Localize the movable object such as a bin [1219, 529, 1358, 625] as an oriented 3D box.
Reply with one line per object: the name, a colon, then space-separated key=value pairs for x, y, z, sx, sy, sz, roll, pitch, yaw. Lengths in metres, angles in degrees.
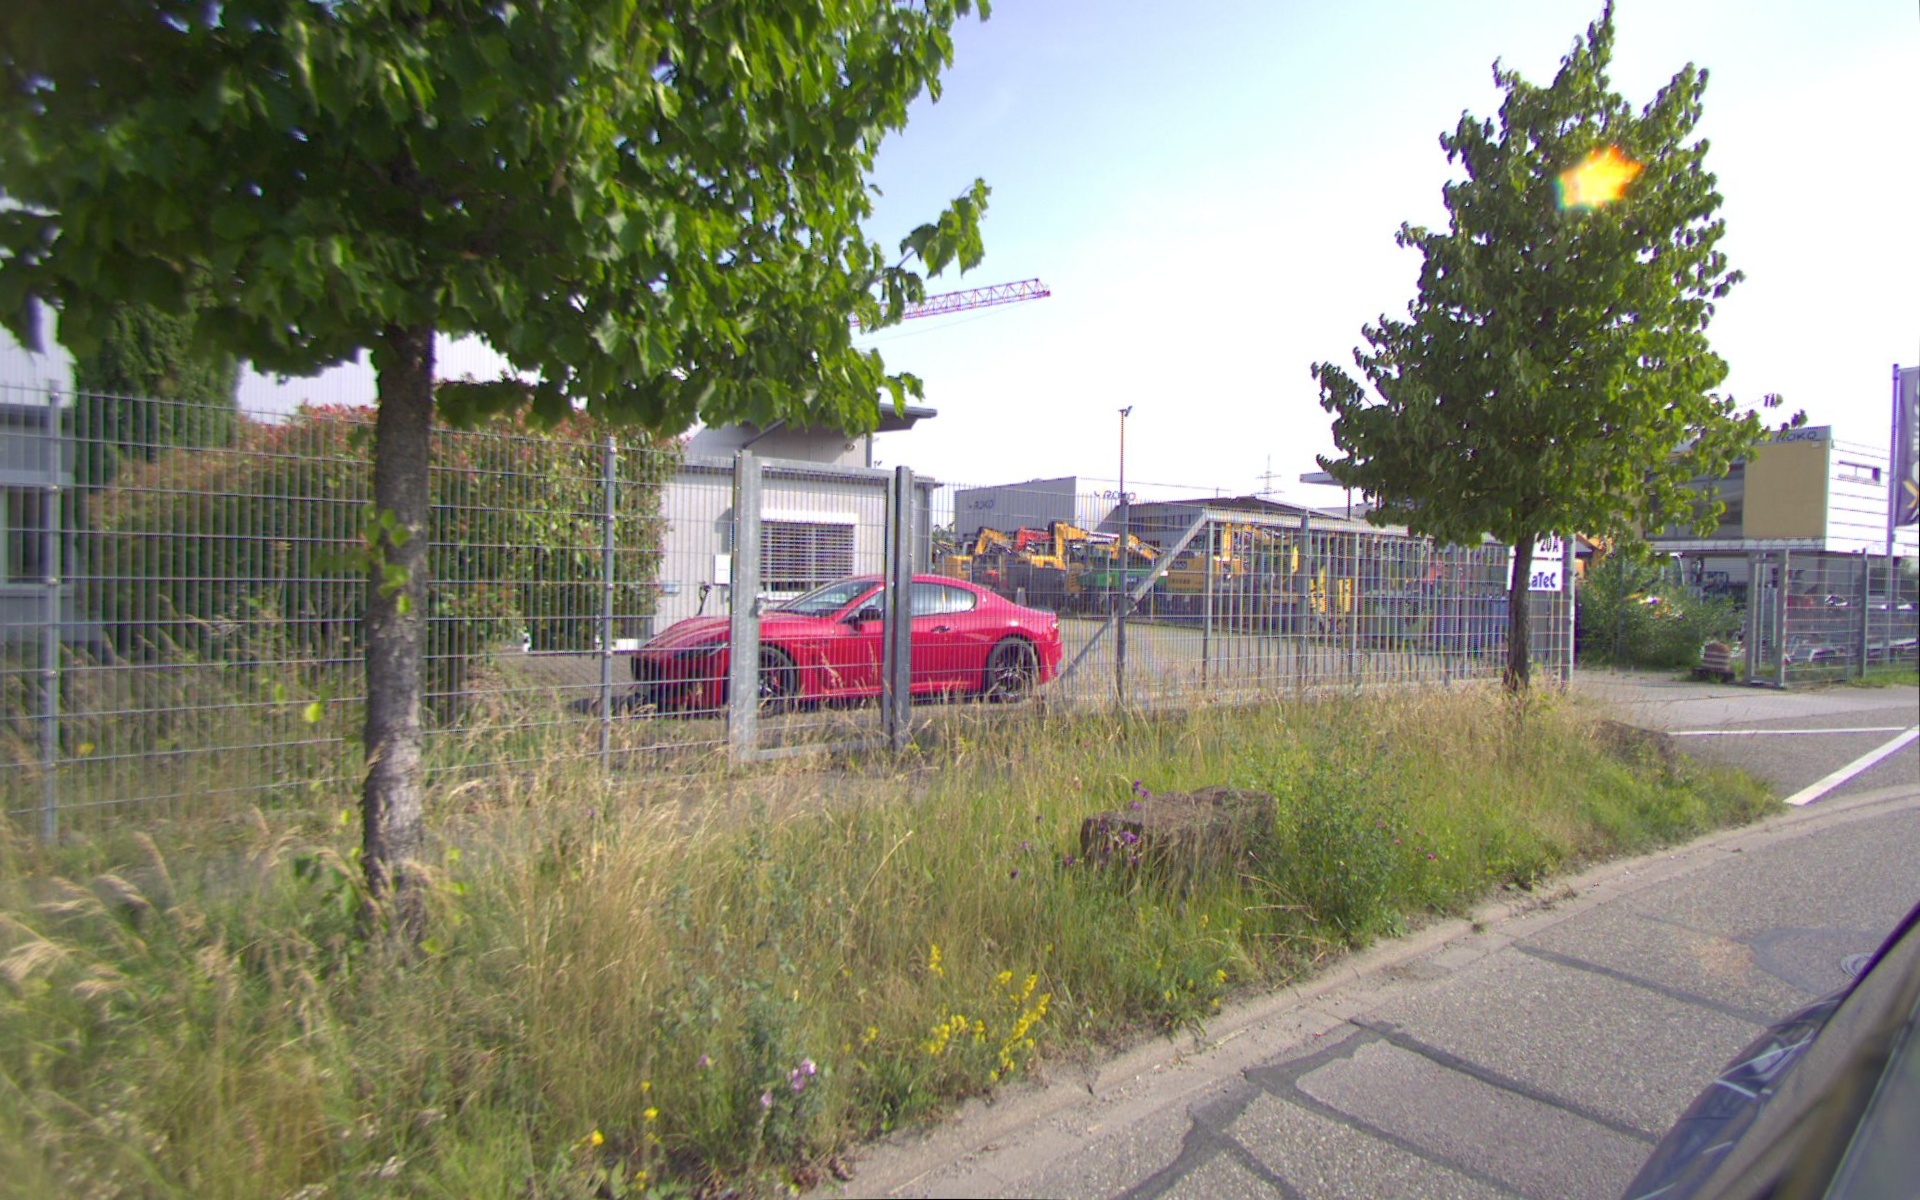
movable object such as a bin: x=11.079 y=-0.776 z=34.100 sx=4.284 sy=3.069 sz=2.002 roll=0 pitch=2 yaw=-29

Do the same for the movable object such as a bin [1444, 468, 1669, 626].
movable object such as a bin: x=20.433 y=-1.663 z=34.590 sx=7.520 sy=4.866 sz=3.331 roll=0 pitch=1 yaw=-31

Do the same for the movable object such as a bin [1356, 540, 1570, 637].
movable object such as a bin: x=14.235 y=-0.354 z=28.659 sx=5.231 sy=2.522 sz=2.936 roll=0 pitch=2 yaw=-29

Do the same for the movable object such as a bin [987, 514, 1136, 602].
movable object such as a bin: x=4.925 y=-1.987 z=48.470 sx=7.062 sy=3.977 sz=2.476 roll=-1 pitch=2 yaw=-33

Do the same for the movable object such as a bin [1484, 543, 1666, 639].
movable object such as a bin: x=16.955 y=-0.265 z=27.892 sx=4.665 sy=2.489 sz=2.003 roll=0 pitch=2 yaw=-25

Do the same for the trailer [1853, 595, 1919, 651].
trailer: x=26.169 y=0.574 z=27.060 sx=4.471 sy=1.327 sz=2.003 roll=-1 pitch=2 yaw=-28

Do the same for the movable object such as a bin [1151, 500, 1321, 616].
movable object such as a bin: x=10.014 y=-1.472 z=36.711 sx=5.602 sy=3.921 sz=2.697 roll=0 pitch=2 yaw=-29

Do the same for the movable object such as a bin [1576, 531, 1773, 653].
movable object such as a bin: x=17.726 y=-0.217 z=25.063 sx=5.055 sy=2.786 sz=1.896 roll=0 pitch=2 yaw=-29

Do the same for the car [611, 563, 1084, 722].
car: x=-1.095 y=0.338 z=10.817 sx=4.680 sy=1.374 sz=1.888 roll=0 pitch=2 yaw=-33

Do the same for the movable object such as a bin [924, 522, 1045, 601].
movable object such as a bin: x=1.311 y=-2.008 z=53.442 sx=6.023 sy=3.977 sz=2.461 roll=-1 pitch=2 yaw=-33

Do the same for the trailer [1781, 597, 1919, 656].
trailer: x=22.062 y=0.584 z=24.567 sx=4.208 sy=1.259 sz=1.953 roll=0 pitch=2 yaw=-31

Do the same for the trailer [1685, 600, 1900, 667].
trailer: x=18.173 y=0.659 z=22.056 sx=4.700 sy=1.259 sz=2.135 roll=0 pitch=2 yaw=-31

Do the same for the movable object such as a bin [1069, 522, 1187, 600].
movable object such as a bin: x=8.987 y=-2.074 z=54.109 sx=5.907 sy=3.977 sz=2.728 roll=-1 pitch=2 yaw=-34

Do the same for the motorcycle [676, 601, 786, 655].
motorcycle: x=-3.512 y=0.418 z=15.557 sx=1.551 sy=0.760 sz=0.537 roll=0 pitch=3 yaw=-30

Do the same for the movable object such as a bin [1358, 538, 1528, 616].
movable object such as a bin: x=18.248 y=-0.839 z=38.153 sx=6.222 sy=2.749 sz=2.712 roll=0 pitch=2 yaw=-31

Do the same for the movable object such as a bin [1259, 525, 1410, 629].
movable object such as a bin: x=11.771 y=-0.720 z=31.810 sx=4.401 sy=3.069 sz=2.002 roll=0 pitch=2 yaw=-29

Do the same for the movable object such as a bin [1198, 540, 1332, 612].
movable object such as a bin: x=12.689 y=-0.976 z=41.993 sx=5.577 sy=2.803 sz=2.063 roll=0 pitch=2 yaw=-31

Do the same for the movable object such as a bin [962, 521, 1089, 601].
movable object such as a bin: x=3.321 y=-1.938 z=50.736 sx=6.023 sy=3.827 sz=2.461 roll=-1 pitch=2 yaw=-33

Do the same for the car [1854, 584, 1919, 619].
car: x=47.626 y=0.054 z=51.731 sx=4.287 sy=1.712 sz=1.896 roll=0 pitch=1 yaw=-34
